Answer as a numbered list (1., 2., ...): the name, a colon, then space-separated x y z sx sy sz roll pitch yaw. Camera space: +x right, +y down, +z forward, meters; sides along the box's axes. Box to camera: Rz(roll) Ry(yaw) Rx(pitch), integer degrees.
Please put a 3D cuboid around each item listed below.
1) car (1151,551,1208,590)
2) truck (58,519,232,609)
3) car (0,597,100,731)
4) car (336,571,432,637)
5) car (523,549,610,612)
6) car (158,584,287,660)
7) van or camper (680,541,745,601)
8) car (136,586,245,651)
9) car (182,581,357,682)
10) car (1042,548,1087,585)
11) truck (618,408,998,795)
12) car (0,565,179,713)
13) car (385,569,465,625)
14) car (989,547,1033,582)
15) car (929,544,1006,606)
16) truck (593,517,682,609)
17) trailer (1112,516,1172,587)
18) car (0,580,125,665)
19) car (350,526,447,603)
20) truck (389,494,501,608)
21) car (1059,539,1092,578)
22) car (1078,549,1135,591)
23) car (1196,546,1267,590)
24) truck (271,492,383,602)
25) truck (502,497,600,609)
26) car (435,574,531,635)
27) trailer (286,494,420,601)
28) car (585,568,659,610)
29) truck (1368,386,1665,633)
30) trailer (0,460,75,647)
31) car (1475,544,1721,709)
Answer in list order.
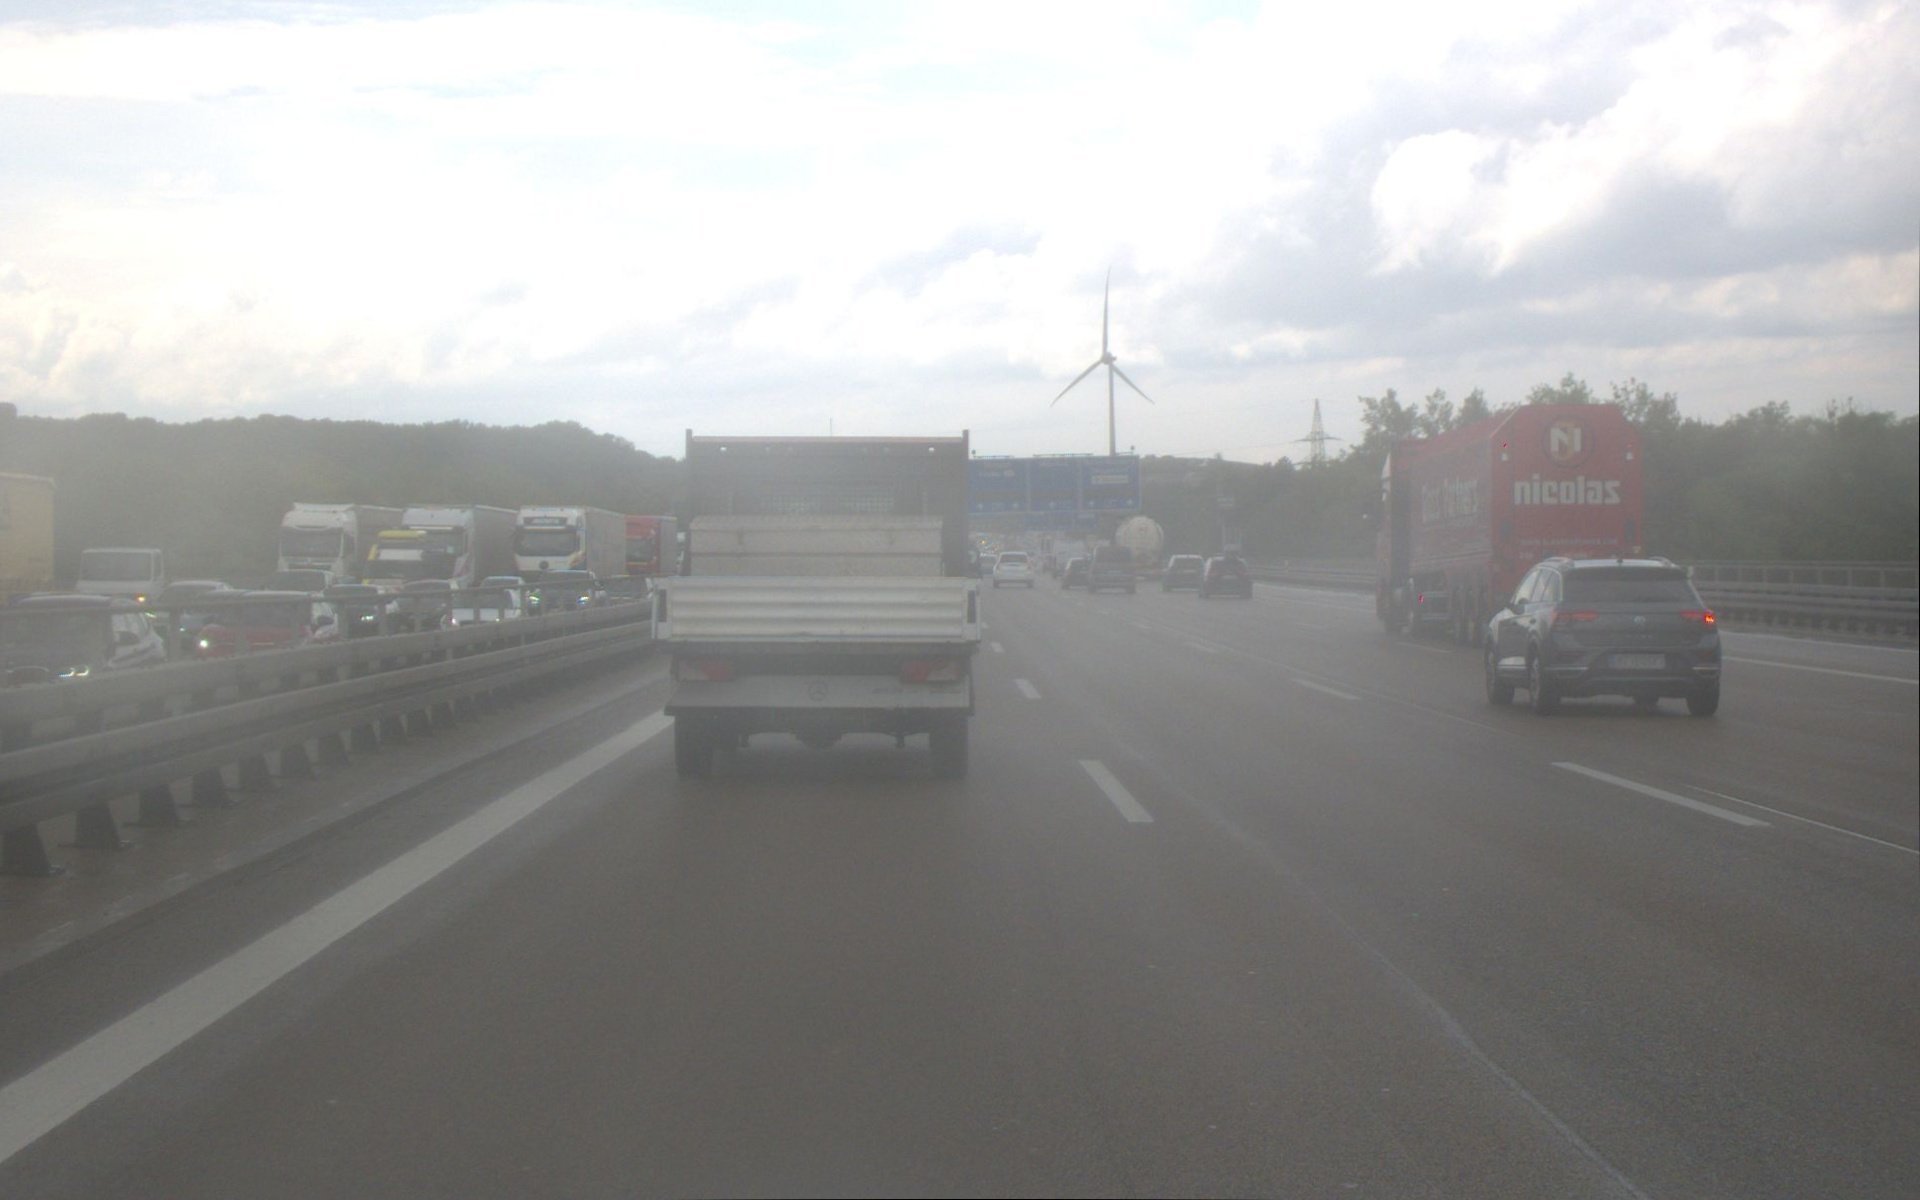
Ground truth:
1. car: 9.583 -1.311 150.651 2.045 1.693 5.007 0 1 -2
2. truck: -22.800 -1.015 96.659 2.680 2.363 9.275 -1 1 0
3. car: -13.176 0.849 46.985 1.857 1.702 4.000 -1 1 -1
4. car: -14.220 0.076 85.024 1.747 1.571 4.419 -1 1 -2
5. car: -11.418 -0.586 100.003 1.913 1.760 5.332 -1 1 0
6. car: -15.305 0.425 71.585 1.808 1.475 5.221 -1 1 -3
7. van or camper: -10.622 -1.249 148.001 2.278 2.487 7.303 -1 1 0
8. car: -18.517 0.423 82.869 1.747 1.474 4.419 -1 1 -2
9. car: -10.928 0.463 54.719 1.994 1.458 4.842 -1 1 -2
10. car: 4.878 -1.566 161.128 2.045 1.693 4.000 0 1 1
11. truck: -1.058 -0.045 25.212 2.353 2.400 7.359 1 1 -2
12. car: -10.968 0.422 42.023 1.867 1.664 5.174 -1 1 -2
13. car: -15.602 -0.113 100.442 1.747 1.571 4.690 -1 1 -2
14. car: 2.498 -1.762 167.840 1.972 1.693 4.000 0 1 -2
15. car: 0.230 -0.718 95.580 2.045 1.693 4.000 0 1 1
16. truck: -15.160 -1.725 162.393 2.984 4.135 12.523 -1 1 0
17. trailer: 10.999 -2.918 208.544 3.333 4.161 11.837 1 1 2
18. car: -18.537 0.438 70.370 1.993 1.656 4.000 -1 1 -2
19. car: -18.957 -1.190 116.332 2.156 2.496 6.773 -1 1 0
20. truck: -19.234 -1.819 128.793 2.904 4.133 7.101 -1 1 2
21. car: 7.455 -2.690 222.042 2.045 2.489 4.000 0 1 1
22. car: 6.088 -1.267 143.705 2.097 1.693 4.000 0 1 -2
23. car: 10.083 -1.200 127.960 2.105 1.600 5.066 0 1 -2
24. truck: -23.655 -1.970 128.766 2.759 3.980 6.576 -1 1 1
25. truck: -15.810 -1.803 133.299 2.880 4.166 7.557 -1 1 0
26. car: -11.301 0.087 81.696 1.762 1.378 4.821 -1 1 -2
27. trailer: -23.562 -2.020 134.179 2.758 3.980 12.306 -1 1 1
28. car: -11.612 -0.381 118.525 2.015 1.382 5.459 -1 1 0
29. truck: 9.913 -1.577 63.351 3.152 3.990 15.637 0 1 1
30. trailer: -23.167 -1.015 76.384 3.247 4.213 14.510 -1 1 0
31. car: 6.323 0.240 34.422 1.792 1.557 3.722 0 0 0
